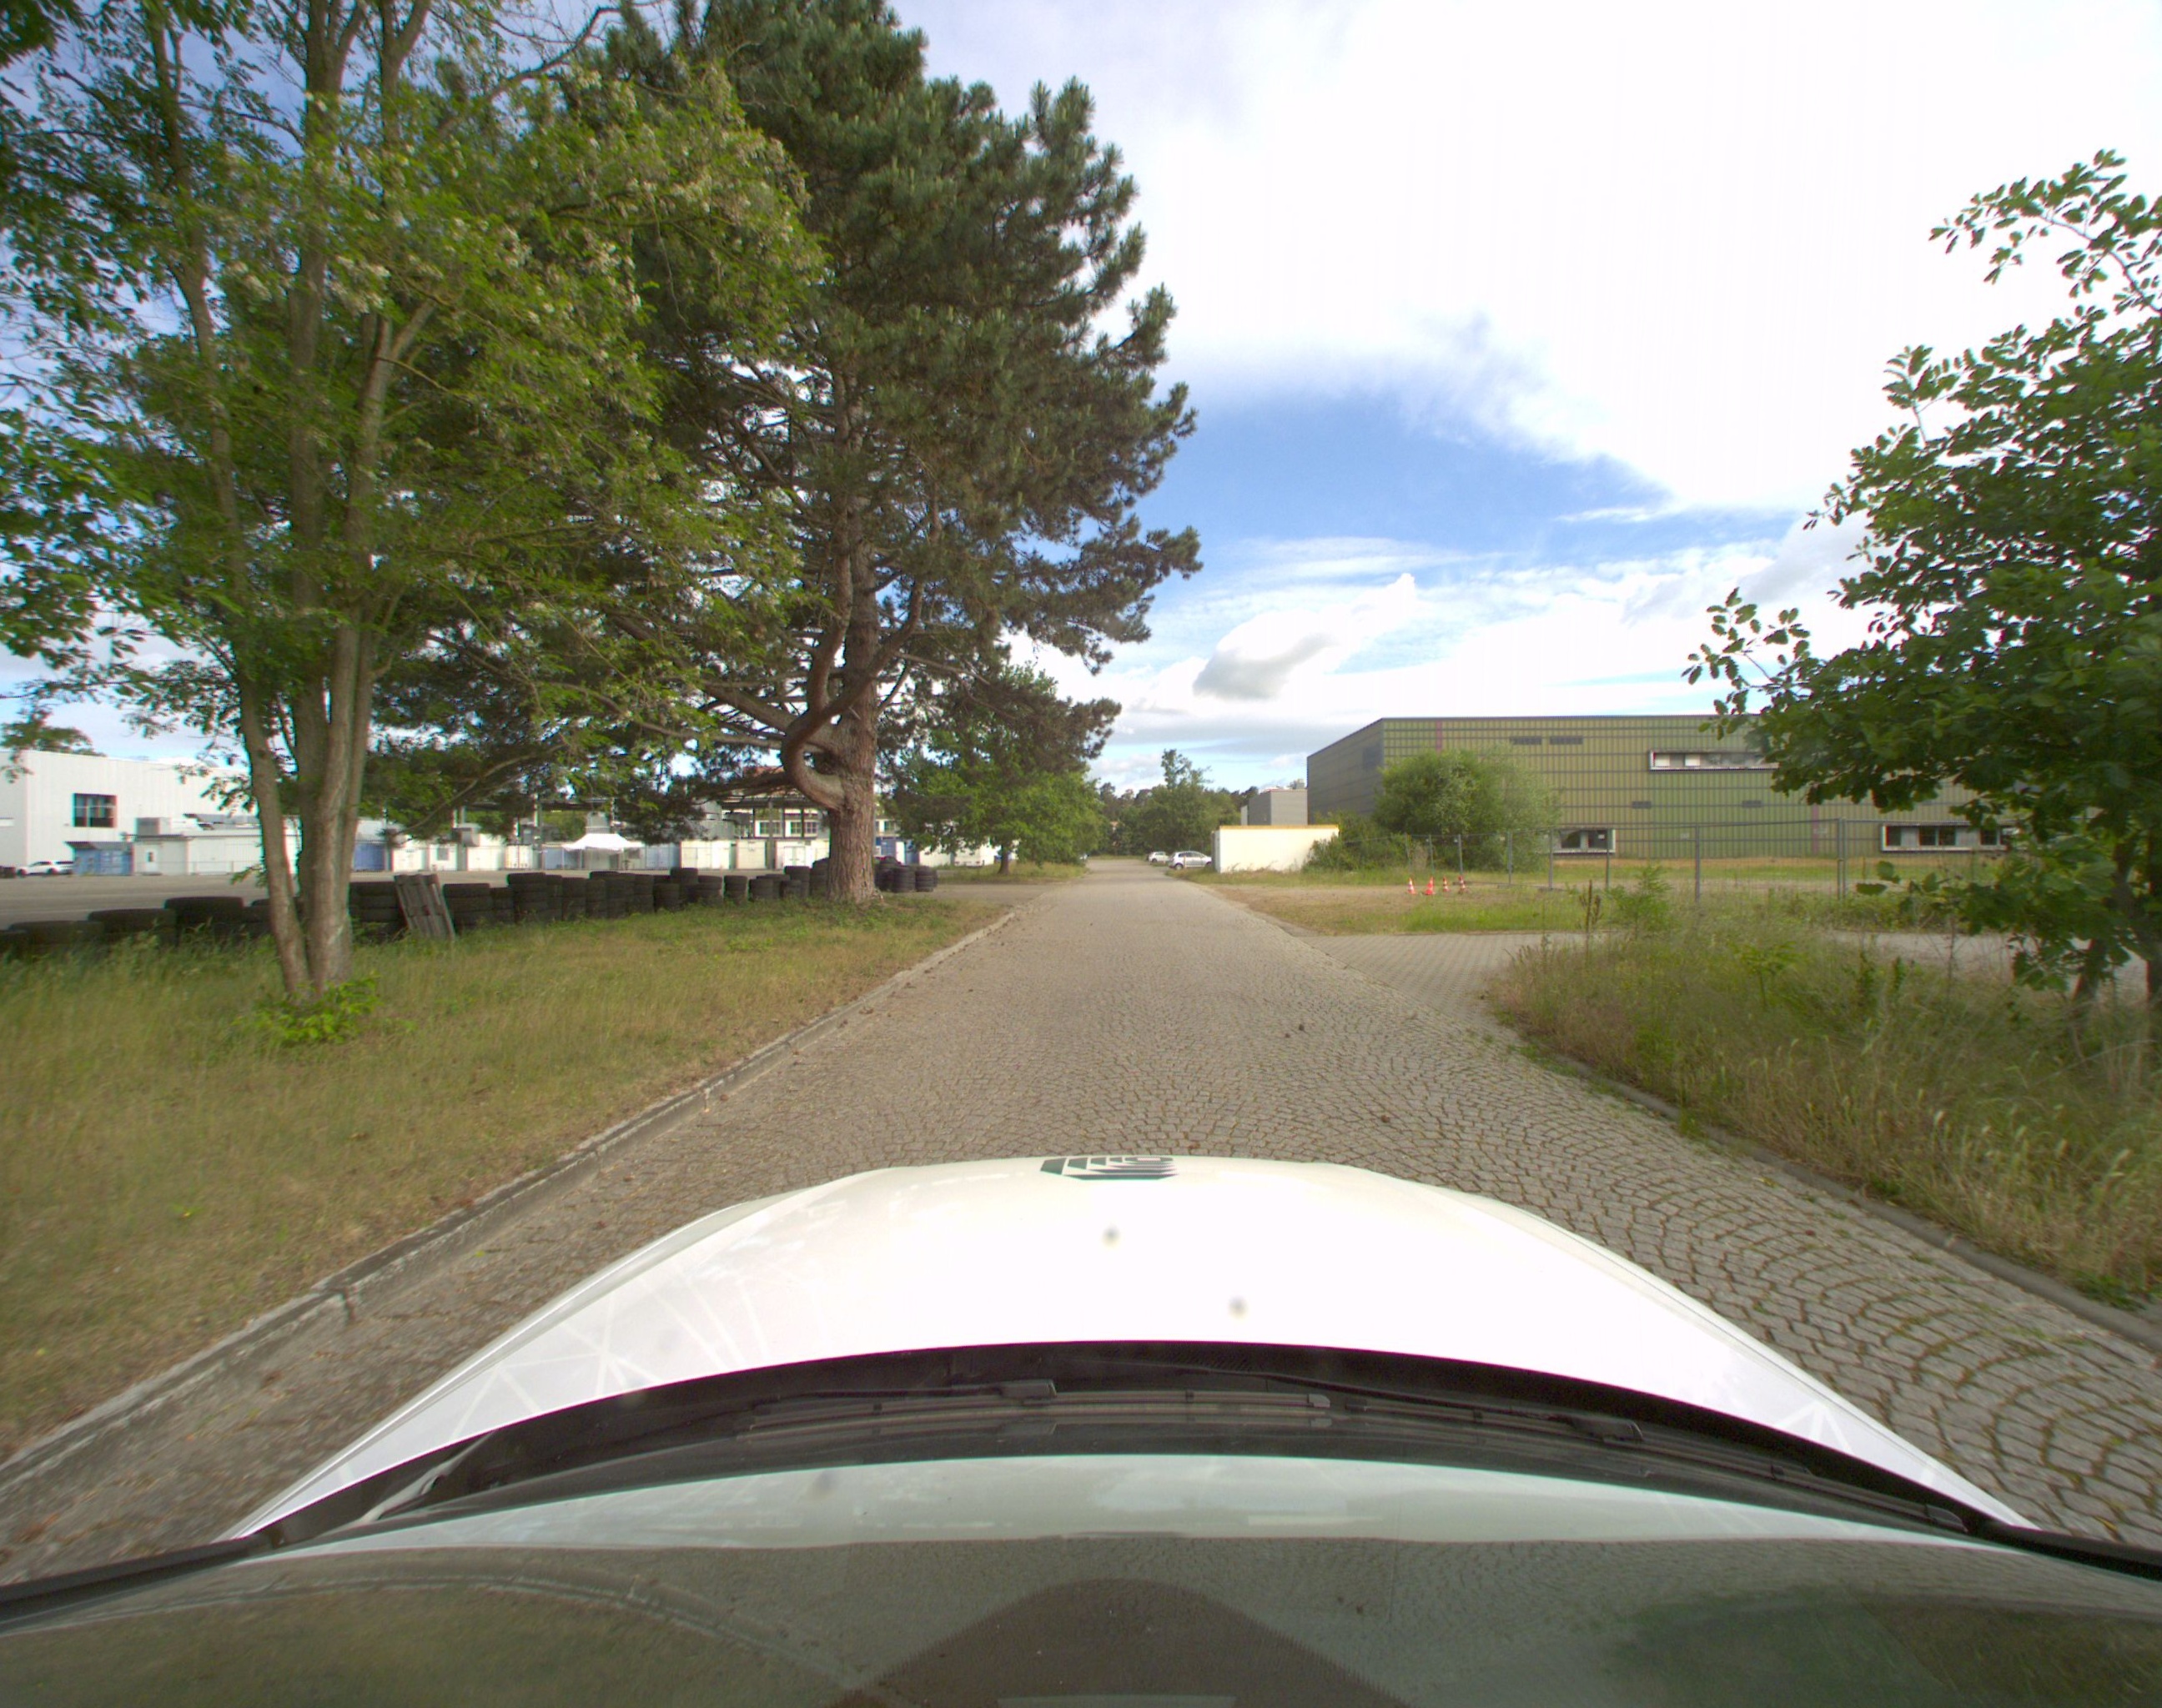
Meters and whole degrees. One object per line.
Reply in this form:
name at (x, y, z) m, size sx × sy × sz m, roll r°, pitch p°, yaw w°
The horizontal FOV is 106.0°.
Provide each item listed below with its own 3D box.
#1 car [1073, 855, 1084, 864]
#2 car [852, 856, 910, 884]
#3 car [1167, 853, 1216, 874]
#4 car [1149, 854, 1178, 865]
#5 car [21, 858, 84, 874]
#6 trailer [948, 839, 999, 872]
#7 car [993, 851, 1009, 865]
car at (-0.360, 0.825, 133.057) m, size 1.729 × 1.469 × 4.045 m, roll 0°, pitch 0°, yaw 0°
car at (-10.577, 0.825, 43.311) m, size 1.757 × 1.453 × 3.496 m, roll 0°, pitch 0°, yaw 8°
car at (9.141, 0.765, 67.448) m, size 3.837 × 1.654 × 1.686 m, roll 0°, pitch 0°, yaw -1°
car at (11.461, 0.715, 113.576) m, size 4.008 × 1.502 × 1.549 m, roll 0°, pitch 0°, yaw 3°
car at (-98.781, 1.140, 78.223) m, size 3.953 × 1.533 × 1.630 m, roll 0°, pitch 0°, yaw 0°
trailer at (-10.532, 0.141, 80.809) m, size 3.144 × 3.067 × 8.795 m, roll 0°, pitch 0°, yaw 4°
car at (-11.957, 0.619, 121.424) m, size 1.919 × 2.047 × 4.600 m, roll 0°, pitch 0°, yaw 0°
